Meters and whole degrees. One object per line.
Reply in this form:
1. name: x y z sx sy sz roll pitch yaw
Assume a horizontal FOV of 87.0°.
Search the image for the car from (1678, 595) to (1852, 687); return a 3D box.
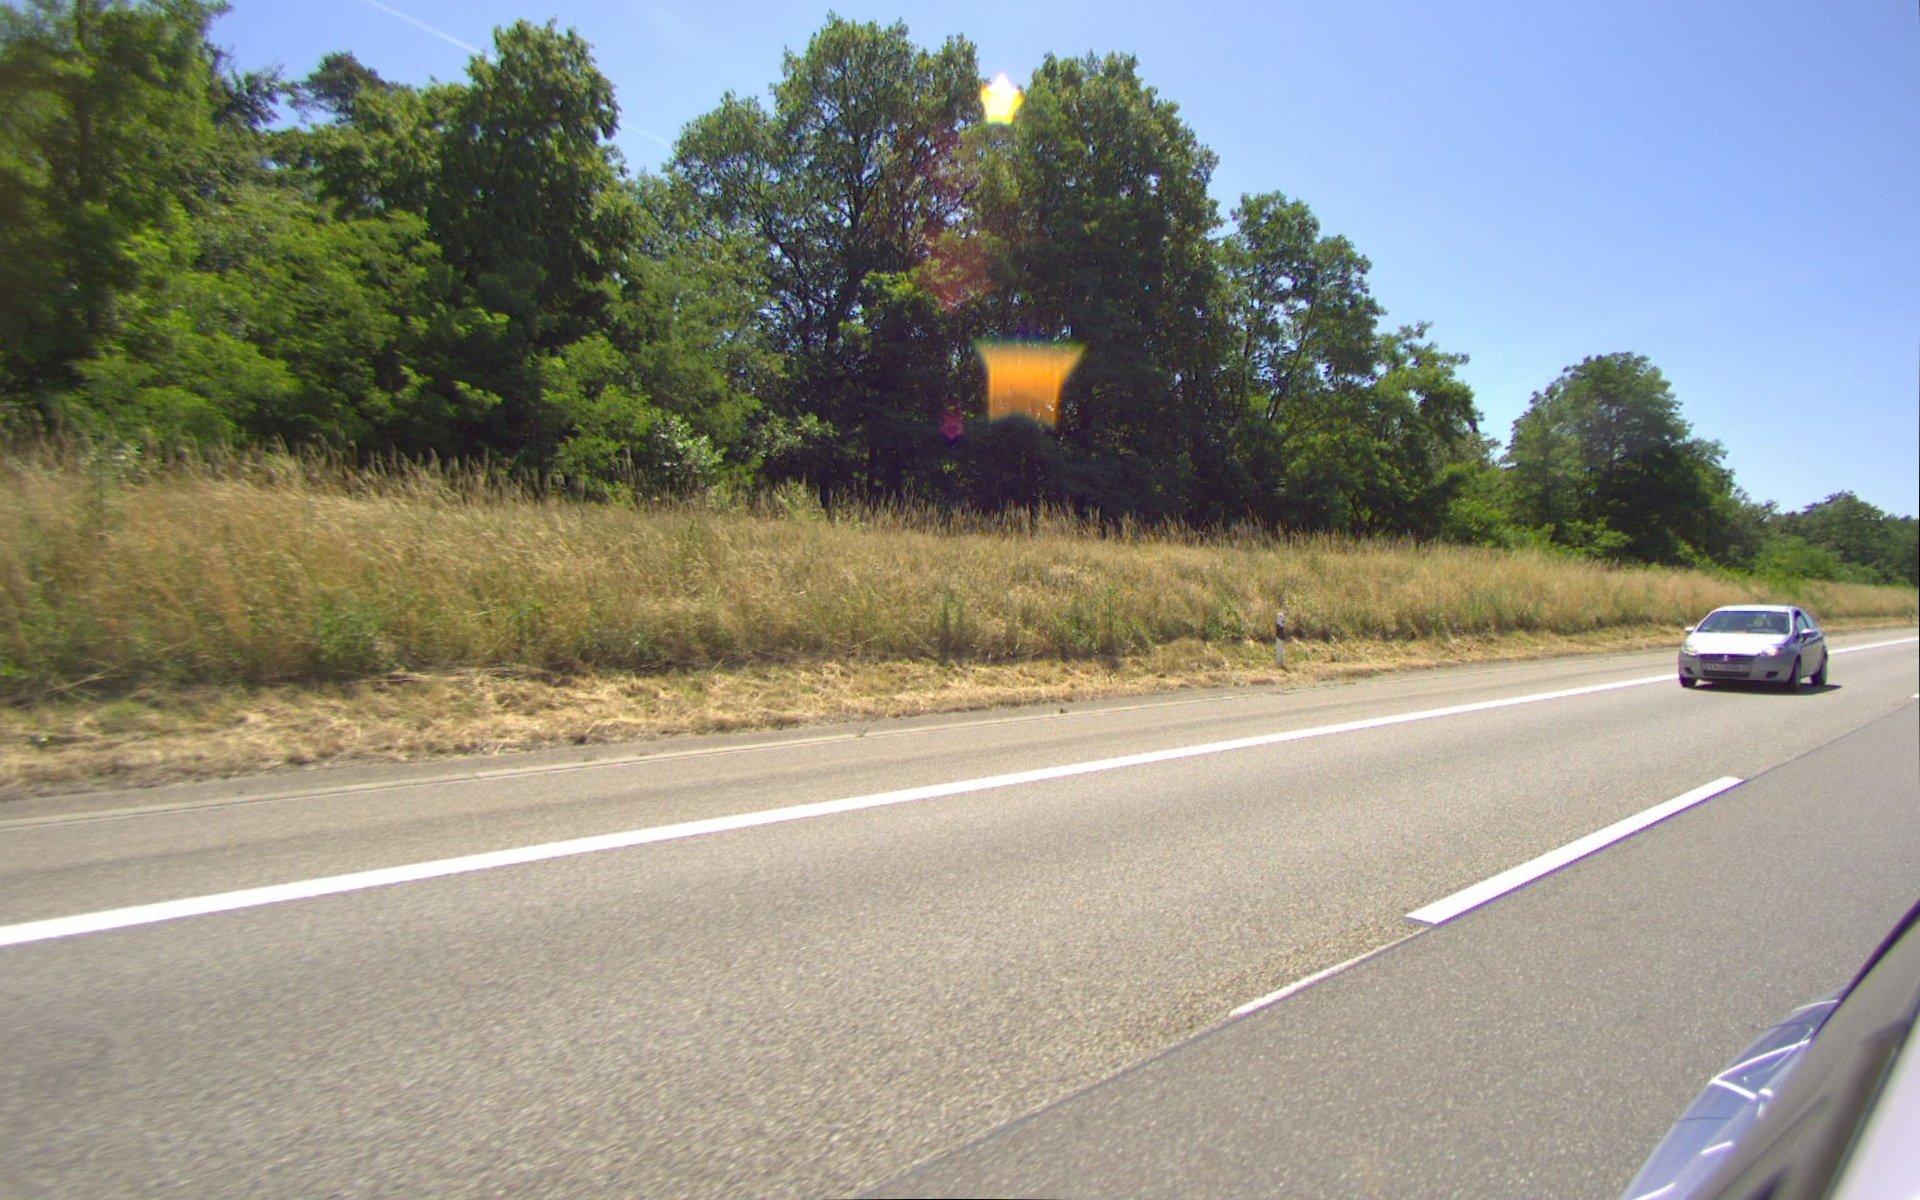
1. car: 14.718 0.669 18.439 3.909 1.484 1.748 0 0 -40
